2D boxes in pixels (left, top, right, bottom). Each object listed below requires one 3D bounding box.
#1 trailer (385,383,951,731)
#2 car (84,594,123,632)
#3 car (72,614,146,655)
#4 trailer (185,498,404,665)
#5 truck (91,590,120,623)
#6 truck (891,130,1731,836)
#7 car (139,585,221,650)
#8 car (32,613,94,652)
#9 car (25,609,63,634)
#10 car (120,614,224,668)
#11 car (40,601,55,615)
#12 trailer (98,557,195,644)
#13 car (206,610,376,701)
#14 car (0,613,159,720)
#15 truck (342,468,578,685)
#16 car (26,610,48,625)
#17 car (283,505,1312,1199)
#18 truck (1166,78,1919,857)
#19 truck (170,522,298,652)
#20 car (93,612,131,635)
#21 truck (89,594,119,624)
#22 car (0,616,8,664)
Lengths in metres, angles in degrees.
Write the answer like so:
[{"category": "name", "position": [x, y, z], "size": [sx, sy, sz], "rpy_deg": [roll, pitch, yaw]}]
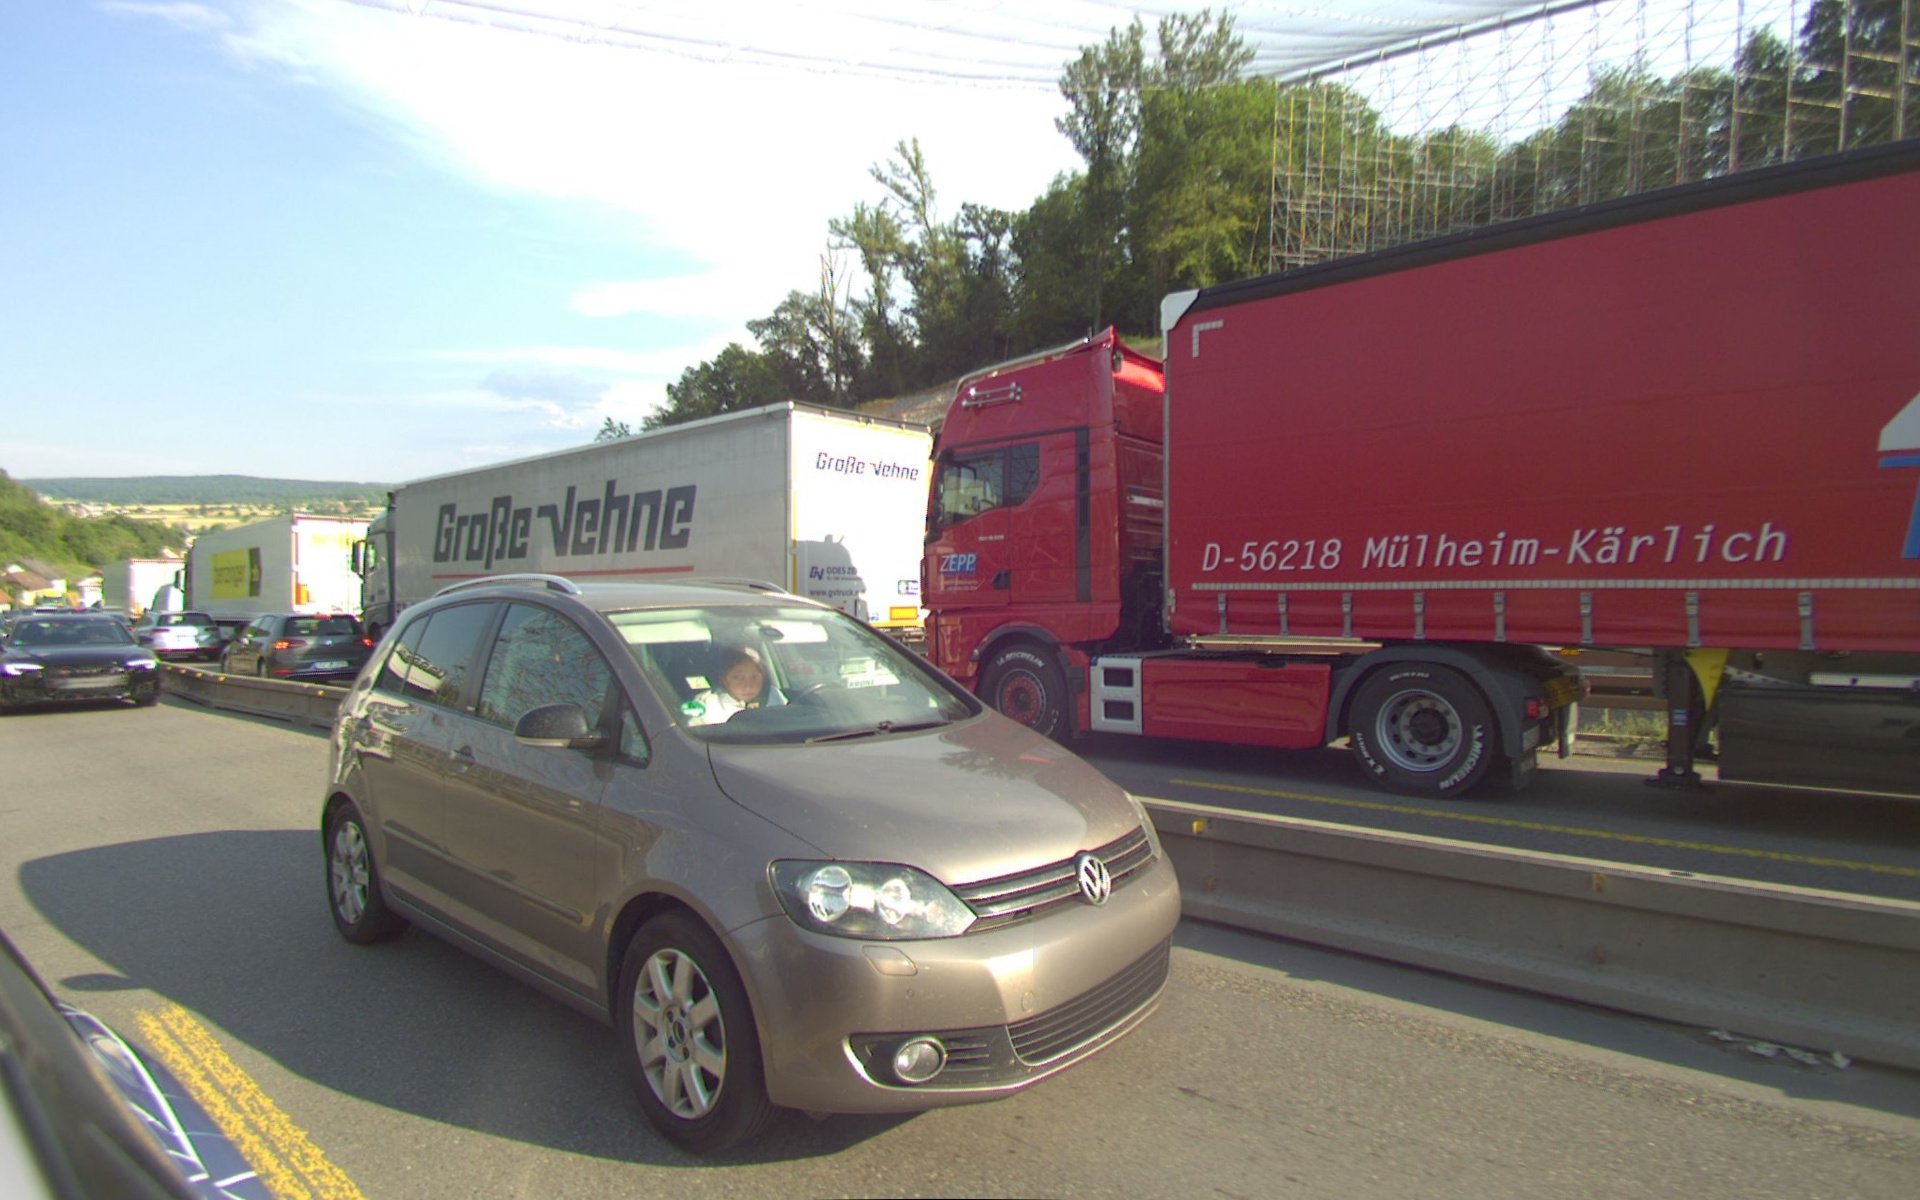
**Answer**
[{"category": "trailer", "position": [-6.207, -0.480, 17.904], "size": [13.964, 4.172, 2.769], "rpy_deg": [0, 0, 42]}, {"category": "car", "position": [-70.029, 1.031, 82.689], "size": [2.305, 2.940, 7.644], "rpy_deg": [1, -1, -41]}, {"category": "car", "position": [-32.352, 1.273, 38.424], "size": [4.893, 1.388, 1.712], "rpy_deg": [-1, 1, 45]}, {"category": "trailer", "position": [-21.542, -0.452, 32.142], "size": [13.882, 4.366, 2.735], "rpy_deg": [0, 0, 43]}, {"category": "truck", "position": [-111.851, 0.843, 132.557], "size": [2.673, 4.119, 14.178], "rpy_deg": [1, -1, -39]}, {"category": "truck", "position": [2.743, -0.678, 9.172], "size": [6.672, 4.172, 2.760], "rpy_deg": [0, 0, 39]}, {"category": "car", "position": [-35.176, 0.799, 45.540], "size": [6.952, 2.710, 1.999], "rpy_deg": [-2, 0, 45]}, {"category": "car", "position": [-40.217, 1.426, 45.323], "size": [4.864, 1.670, 1.732], "rpy_deg": [-1, -1, 44]}, {"category": "car", "position": [-63.297, 1.481, 69.893], "size": [1.847, 1.601, 4.808], "rpy_deg": [-2, 1, -43]}, {"category": "car", "position": [-23.047, 1.151, 29.533], "size": [4.839, 1.450, 1.713], "rpy_deg": [-1, -1, 44]}, {"category": "car", "position": [-144.756, 1.308, 160.545], "size": [1.795, 2.015, 4.760], "rpy_deg": [2, -3, -42]}, {"category": "trailer", "position": [-44.597, 0.041, 55.234], "size": [2.690, 4.250, 13.756], "rpy_deg": [0, 0, -45]}, {"category": "car", "position": [-12.712, 0.965, 19.112], "size": [4.399, 1.475, 1.633], "rpy_deg": [-1, 1, 42]}, {"category": "car", "position": [-13.951, 0.934, 15.771], "size": [4.002, 1.409, 1.841], "rpy_deg": [0, -1, 45]}, {"category": "truck", "position": [-11.219, -0.434, 22.482], "size": [5.933, 4.172, 2.757], "rpy_deg": [0, 0, 42]}, {"category": "car", "position": [-106.688, 2.035, 117.016], "size": [1.795, 1.591, 4.760], "rpy_deg": [2, -3, -42]}, {"category": "car", "position": [-0.977, 0.616, 3.903], "size": [4.097, 1.585, 1.666], "rpy_deg": [0, 0, 40]}, {"category": "truck", "position": [7.877, -0.723, 4.952], "size": [13.794, 4.172, 2.760], "rpy_deg": [0, 0, 39]}, {"category": "truck", "position": [-26.472, -0.430, 36.802], "size": [5.934, 4.332, 2.715], "rpy_deg": [0, 0, 43]}, {"category": "car", "position": [-57.604, 1.583, 68.688], "size": [1.722, 1.471, 4.718], "rpy_deg": [0, -1, -43]}, {"category": "truck", "position": [-102.981, 1.129, 121.817], "size": [2.416, 3.489, 7.632], "rpy_deg": [1, -1, -38]}, {"category": "car", "position": [-30.184, 1.223, 30.771], "size": [4.002, 1.409, 1.675], "rpy_deg": [-2, 0, 45]}]
